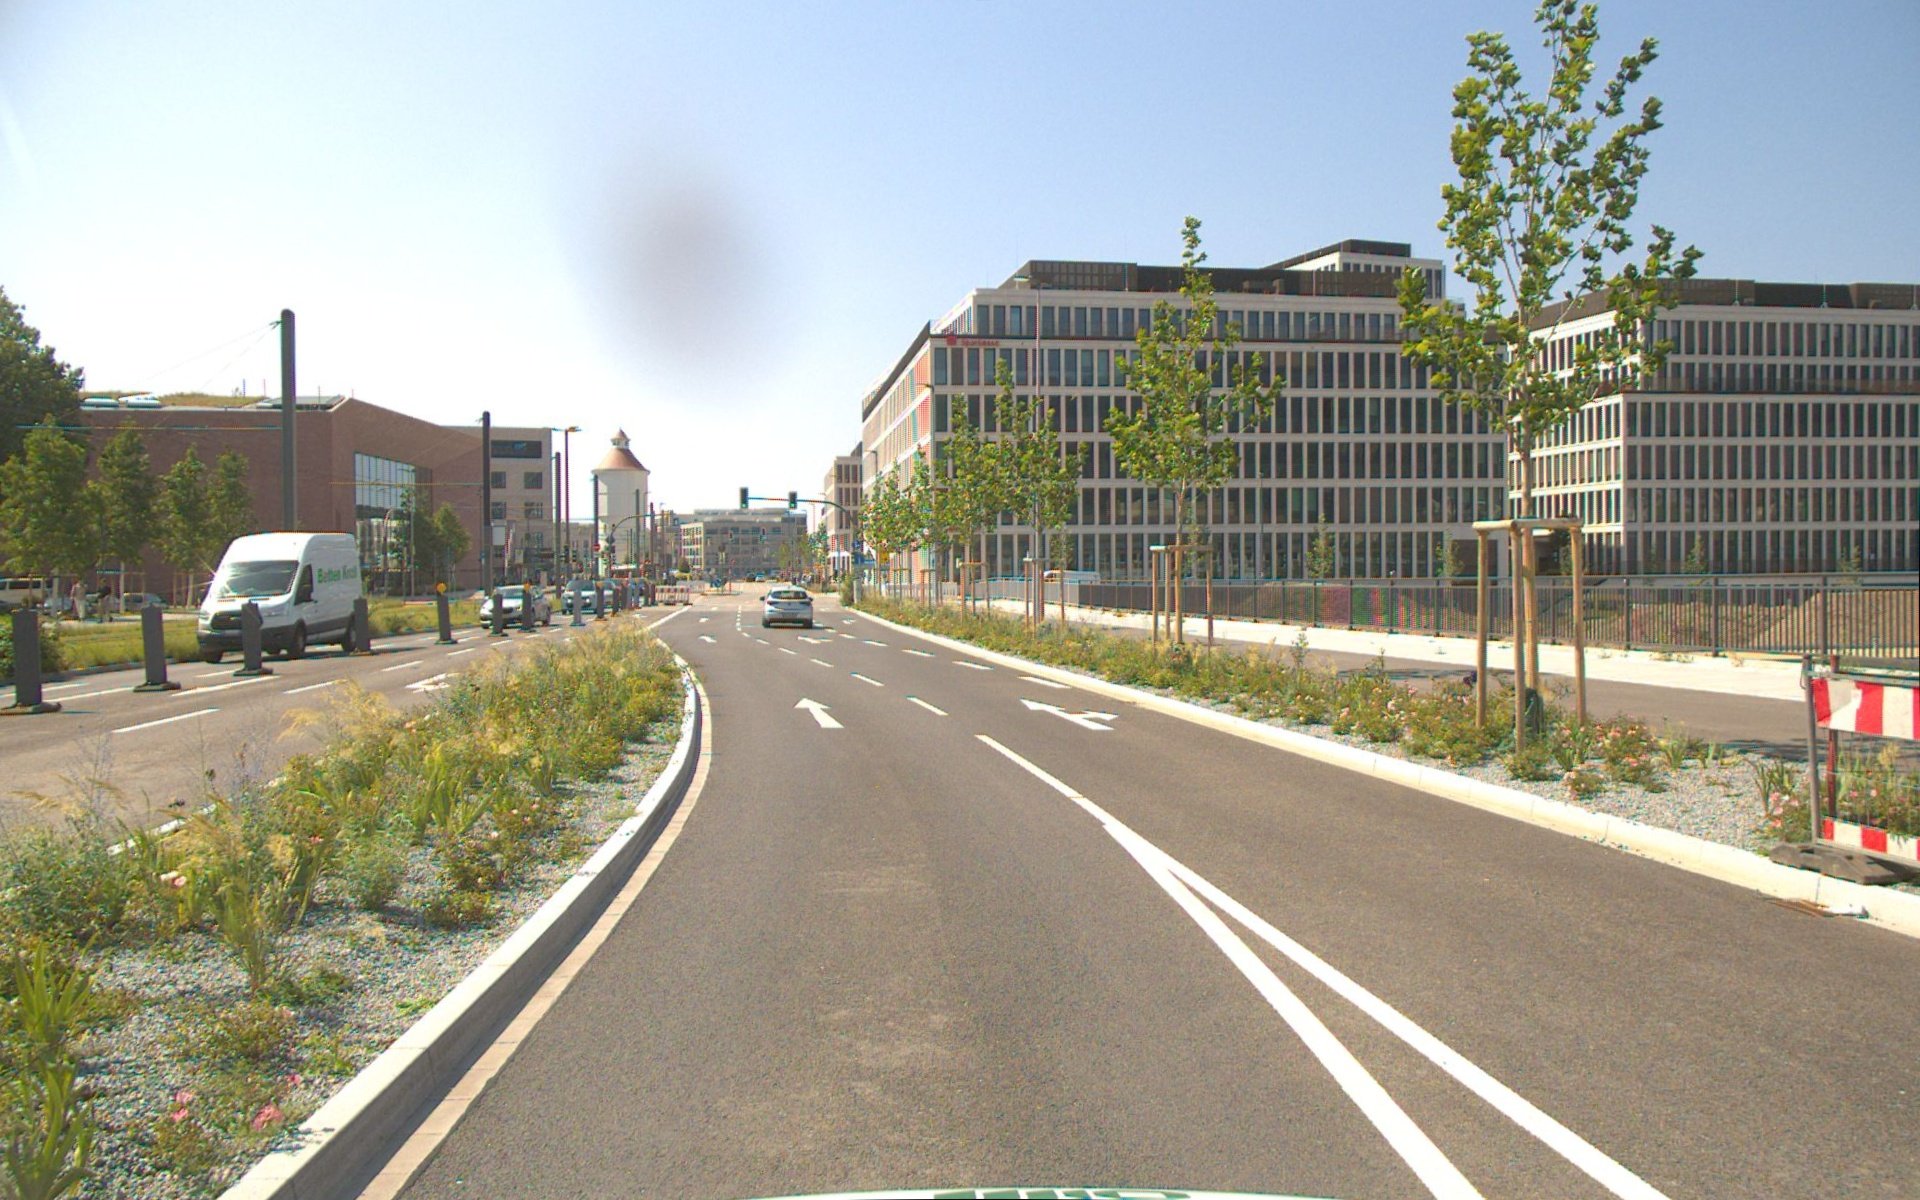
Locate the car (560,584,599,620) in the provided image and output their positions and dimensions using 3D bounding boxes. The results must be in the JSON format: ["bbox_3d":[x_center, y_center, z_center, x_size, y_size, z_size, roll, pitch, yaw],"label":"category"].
[{"bbox_3d":[-17.876,0.079,77.789,1.551,1.557,3.612,-3,1,-10],"label":"car"}]

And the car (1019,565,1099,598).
[{"bbox_3d":[7.514,-1.399,125.809,5.726,2.310,2.143,2,1,-8],"label":"car"}]

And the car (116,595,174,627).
[{"bbox_3d":[-46.812,0.617,95.048,1.666,1.792,4.294,0,0,-7],"label":"car"}]

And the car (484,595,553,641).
[{"bbox_3d":[-15.679,0.611,58.914,1.641,1.468,4.463,-2,1,-6],"label":"car"}]

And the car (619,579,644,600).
[{"bbox_3d":[-23.868,-0.777,120.209,1.598,1.452,4.282,-2,1,-9],"label":"car"}]

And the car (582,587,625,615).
[{"bbox_3d":[-19.173,0.045,89.140,1.548,1.441,4.294,-1,1,-3],"label":"car"}]

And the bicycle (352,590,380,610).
[{"bbox_3d":[-45.882,0.006,127.764,2.019,1.478,0.537,0,1,-19],"label":"bicycle"}]

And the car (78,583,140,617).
[{"bbox_3d":[-45.784,-0.027,89.062,1.666,1.792,3.934,0,0,-7],"label":"car"}]

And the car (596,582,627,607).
[{"bbox_3d":[-21.323,-0.343,101.264,1.550,1.441,3.992,-1,1,-8],"label":"car"}]

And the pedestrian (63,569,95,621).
[{"bbox_3d":[-35.064,-0.213,65.832,0.823,2.049,0.982,0,1,-5],"label":"pedestrian"}]

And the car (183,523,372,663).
[{"bbox_3d":[-15.083,-0.186,36.978,2.036,2.787,5.981,-2,1,-4],"label":"car"}]

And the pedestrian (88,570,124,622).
[{"bbox_3d":[-34.028,-0.175,65.917,0.964,2.049,0.909,1,1,-5],"label":"pedestrian"}]

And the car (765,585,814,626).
[{"bbox_3d":[-6.232,0.195,60.589,1.737,1.419,3.527,1,0,-6],"label":"car"}]

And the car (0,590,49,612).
[{"bbox_3d":[-61.603,0.078,107.324,3.907,1.427,1.999,0,0,-3],"label":"car"}]

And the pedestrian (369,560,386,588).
[{"bbox_3d":[-38.977,-1.733,110.685,0.795,1.879,1.107,0,1,-1],"label":"pedestrian"}]

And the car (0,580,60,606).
[{"bbox_3d":[-64.714,-0.483,114.924,3.476,1.719,1.691,0,1,-8],"label":"car"}]
